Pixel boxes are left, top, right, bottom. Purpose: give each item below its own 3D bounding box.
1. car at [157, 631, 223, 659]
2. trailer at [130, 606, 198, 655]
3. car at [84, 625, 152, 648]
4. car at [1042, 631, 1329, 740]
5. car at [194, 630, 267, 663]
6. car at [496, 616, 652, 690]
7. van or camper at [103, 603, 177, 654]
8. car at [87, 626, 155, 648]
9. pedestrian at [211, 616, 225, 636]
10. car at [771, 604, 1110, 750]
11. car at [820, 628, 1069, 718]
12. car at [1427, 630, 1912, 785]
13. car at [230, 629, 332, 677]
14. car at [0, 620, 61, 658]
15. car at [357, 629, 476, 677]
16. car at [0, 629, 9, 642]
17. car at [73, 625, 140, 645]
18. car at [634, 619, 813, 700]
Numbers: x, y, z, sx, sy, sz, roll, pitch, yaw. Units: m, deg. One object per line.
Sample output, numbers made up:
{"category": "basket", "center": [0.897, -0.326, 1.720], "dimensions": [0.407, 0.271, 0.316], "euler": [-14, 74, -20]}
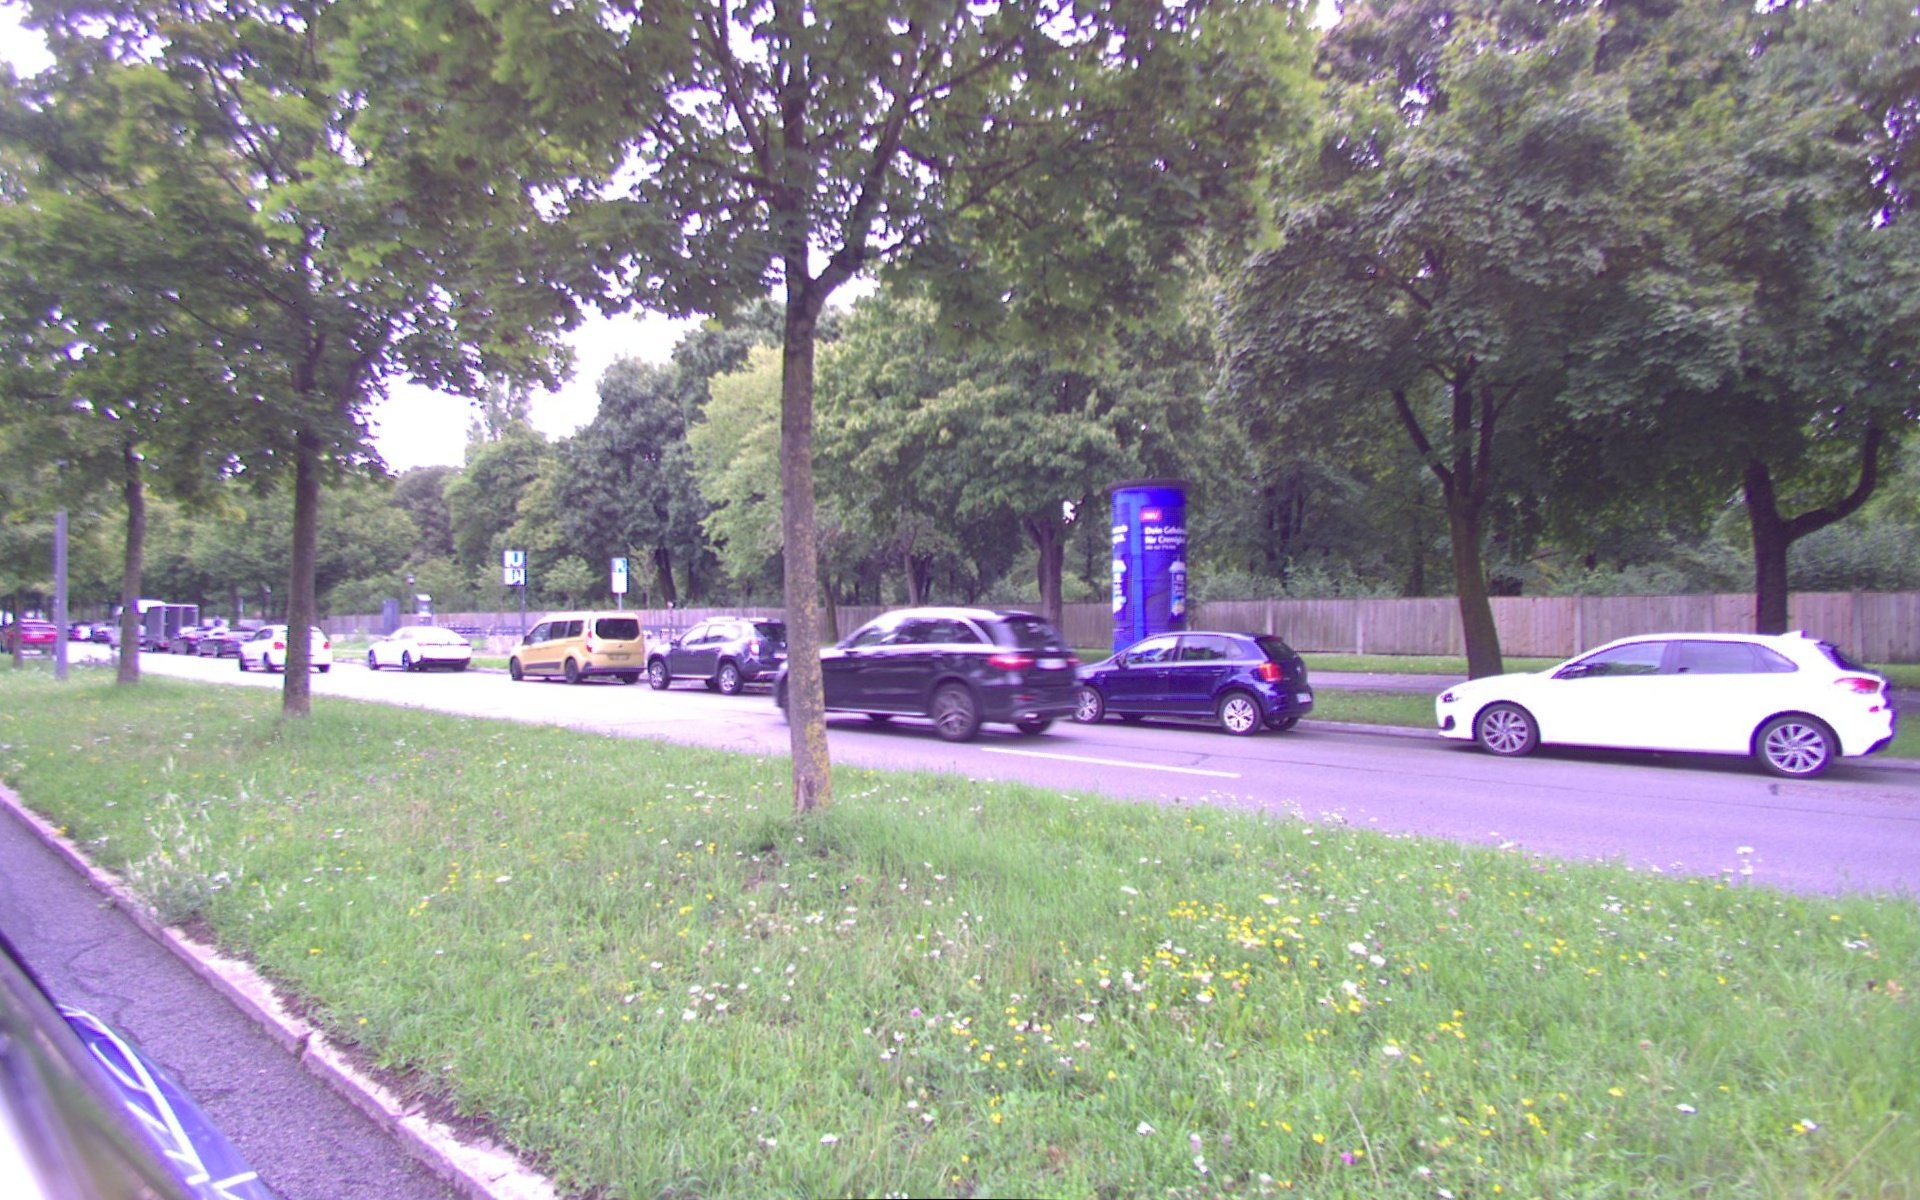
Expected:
{"category": "car", "center": [-39.110, 2.270, 51.356], "dimensions": [4.235, 1.394, 1.781], "euler": [-2, -3, 41]}
{"category": "trailer", "center": [-43.603, 1.685, 55.429], "dimensions": [4.655, 2.610, 1.996], "euler": [-2, -3, 41]}
{"category": "car", "center": [-67.707, 2.907, 81.426], "dimensions": [1.783, 1.599, 3.986], "euler": [-2, 0, 11]}
{"category": "car", "center": [3.292, 1.190, 15.134], "dimensions": [3.892, 1.428, 1.597], "euler": [-1, -3, 38]}
{"category": "car", "center": [-34.073, 2.154, 47.236], "dimensions": [4.428, 1.436, 1.781], "euler": [-2, -3, 41]}
{"category": "car", "center": [-10.259, 1.364, 26.716], "dimensions": [4.815, 1.796, 1.795], "euler": [-2, -3, 42]}
{"category": "van or camper", "center": [-48.217, 1.703, 59.431], "dimensions": [7.542, 2.859, 2.014], "euler": [-2, -3, 41]}
{"category": "car", "center": [-65.639, 2.882, 79.239], "dimensions": [1.779, 1.497, 3.993], "euler": [-2, 0, 6]}
{"category": "pedestrian", "center": [-67.129, 2.351, 91.554], "dimensions": [0.872, 1.781, 0.761], "euler": [-1, -2, 37]}
{"category": "car", "center": [-0.384, 0.943, 13.547], "dimensions": [4.503, 1.636, 1.748], "euler": [-1, -3, 40]}
{"category": "car", "center": [-0.377, 1.265, 18.557], "dimensions": [4.529, 1.461, 1.744], "euler": [-2, -3, 40]}
{"category": "car", "center": [7.810, 1.084, 11.513], "dimensions": [4.276, 1.455, 1.590], "euler": [-2, -3, 41]}
{"category": "car", "center": [-21.005, 1.598, 31.261], "dimensions": [3.834, 1.385, 1.602], "euler": [-1, -3, 40]}
{"category": "car", "center": [-44.092, 1.836, 47.804], "dimensions": [4.243, 1.709, 1.884], "euler": [-1, -3, 41]}
{"category": "car", "center": [-18.343, 1.747, 34.051], "dimensions": [4.871, 1.484, 1.838], "euler": [-2, -3, 40]}
{"category": "car", "center": [-108.016, 3.979, 113.503], "dimensions": [4.170, 1.454, 1.864], "euler": [-1, 0, 45]}
{"category": "car", "center": [-72.289, 2.923, 85.763], "dimensions": [1.872, 1.474, 3.984], "euler": [-2, 0, 13]}
{"category": "car", "center": [-5.400, 1.306, 22.838], "dimensions": [4.252, 1.658, 1.719], "euler": [-2, -3, 40]}
